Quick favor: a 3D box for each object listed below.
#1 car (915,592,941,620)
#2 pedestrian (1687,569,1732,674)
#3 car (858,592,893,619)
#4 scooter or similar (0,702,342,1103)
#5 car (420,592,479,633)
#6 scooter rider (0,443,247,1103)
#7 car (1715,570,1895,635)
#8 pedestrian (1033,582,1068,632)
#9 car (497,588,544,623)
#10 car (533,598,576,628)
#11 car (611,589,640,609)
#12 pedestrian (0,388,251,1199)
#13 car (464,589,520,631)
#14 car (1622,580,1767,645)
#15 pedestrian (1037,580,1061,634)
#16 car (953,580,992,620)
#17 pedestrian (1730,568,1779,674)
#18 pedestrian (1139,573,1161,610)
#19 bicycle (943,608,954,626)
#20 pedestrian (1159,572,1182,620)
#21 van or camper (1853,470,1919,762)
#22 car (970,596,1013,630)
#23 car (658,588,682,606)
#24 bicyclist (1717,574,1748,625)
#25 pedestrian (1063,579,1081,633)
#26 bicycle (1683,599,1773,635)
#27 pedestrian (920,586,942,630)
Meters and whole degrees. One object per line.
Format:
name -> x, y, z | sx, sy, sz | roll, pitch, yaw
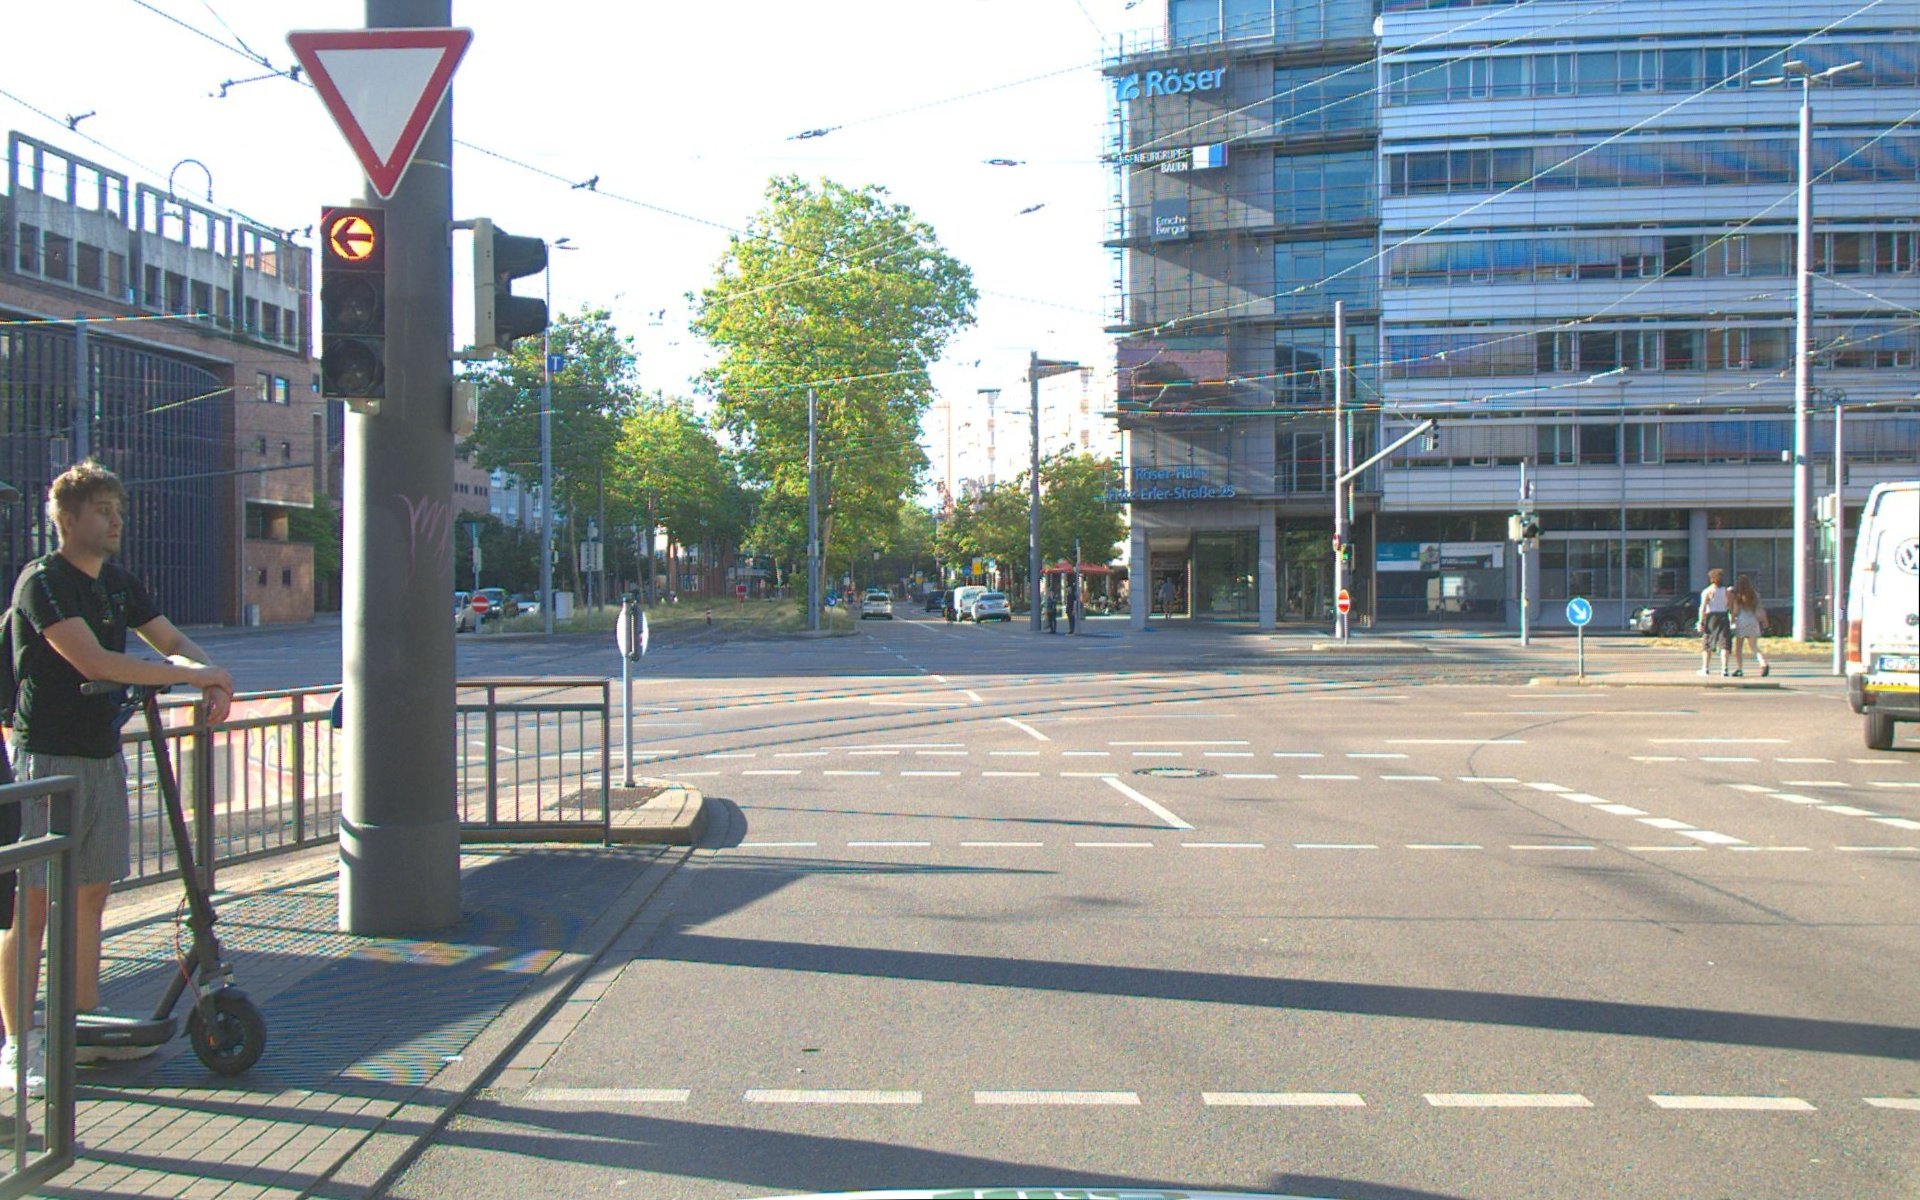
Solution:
car -> -2.440, 0.449, 126.624 | 1.953, 2.049, 3.999 | 1, 0, -1
pedestrian -> 12.943, 0.371, 28.589 | 0.663, 1.789, 0.742 | -1, 0, 23
car -> -4.743, 0.283, 93.374 | 1.712, 1.443, 4.001 | 0, 0, 1
scooter or similar -> -2.618, 0.891, 5.076 | 1.177, 1.100, 0.648 | -1, 0, 3
car -> -20.623, 0.481, 66.935 | 1.591, 1.604, 3.994 | -1, 0, -7
scooter rider -> -2.633, 0.502, 5.090 | 0.554, 1.885, 0.680 | -1, -2, 4
car -> 24.098, 0.068, 47.280 | 4.165, 1.753, 1.885 | -1, 0, 2
pedestrian -> 3.594, 0.289, 65.853 | 1.315, 1.984, 1.011 | 0, 0, -1
car -> -21.847, 0.272, 82.311 | 1.644, 1.635, 3.994 | 1, 0, -7
car -> -28.554, 0.888, 116.613 | 1.837, 2.049, 4.472 | -1, 0, 2
car -> -31.163, -0.081, 154.118 | 1.871, 1.814, 3.999 | -1, 0, -1
pedestrian -> -2.628, 0.472, 4.307 | 1.143, 1.917, 0.854 | -1, 0, 4
car -> -21.073, 0.415, 74.585 | 1.787, 1.821, 3.994 | -1, 0, -7
car -> 24.293, 0.424, 54.796 | 3.906, 2.049, 2.000 | 1, 0, -1
pedestrian -> 3.471, 0.267, 64.351 | 0.832, 2.049, 0.707 | 1, -1, -2
car -> 0.657, 0.003, 89.643 | 1.953, 2.049, 3.999 | 1, 0, -1
pedestrian -> 13.603, 0.359, 28.333 | 0.669, 1.789, 0.742 | -1, 0, 21
pedestrian -> 11.441, -0.518, 99.721 | 1.285, 2.228, 1.171 | 1, -1, 5
bicycle -> -0.521, 0.778, 74.974 | 0.481, 0.802, 1.861 | 1, 0, -1
pedestrian -> 9.129, -0.176, 71.712 | 0.852, 2.049, 0.793 | 1, -2, -1
van or camper -> 10.926, 0.113, 17.529 | 1.965, 2.660, 6.478 | -1, 0, 34
car -> 1.548, 0.655, 82.835 | 1.988, 1.624, 3.999 | 1, 0, -1
car -> -30.209, -0.341, 172.480 | 1.807, 1.814, 3.999 | -1, 0, -1
bicyclist -> 23.265, -0.009, 49.822 | 0.649, 1.529, 0.613 | -1, 0, 4
pedestrian -> 4.248, 0.228, 62.734 | 0.574, 2.049, 0.620 | 1, -1, 0
bicycle -> 23.128, 0.500, 49.830 | 2.359, 1.040, 0.637 | -1, 0, 4
pedestrian -> -1.158, 0.311, 66.251 | 0.852, 1.737, 0.793 | 1, -1, -1
